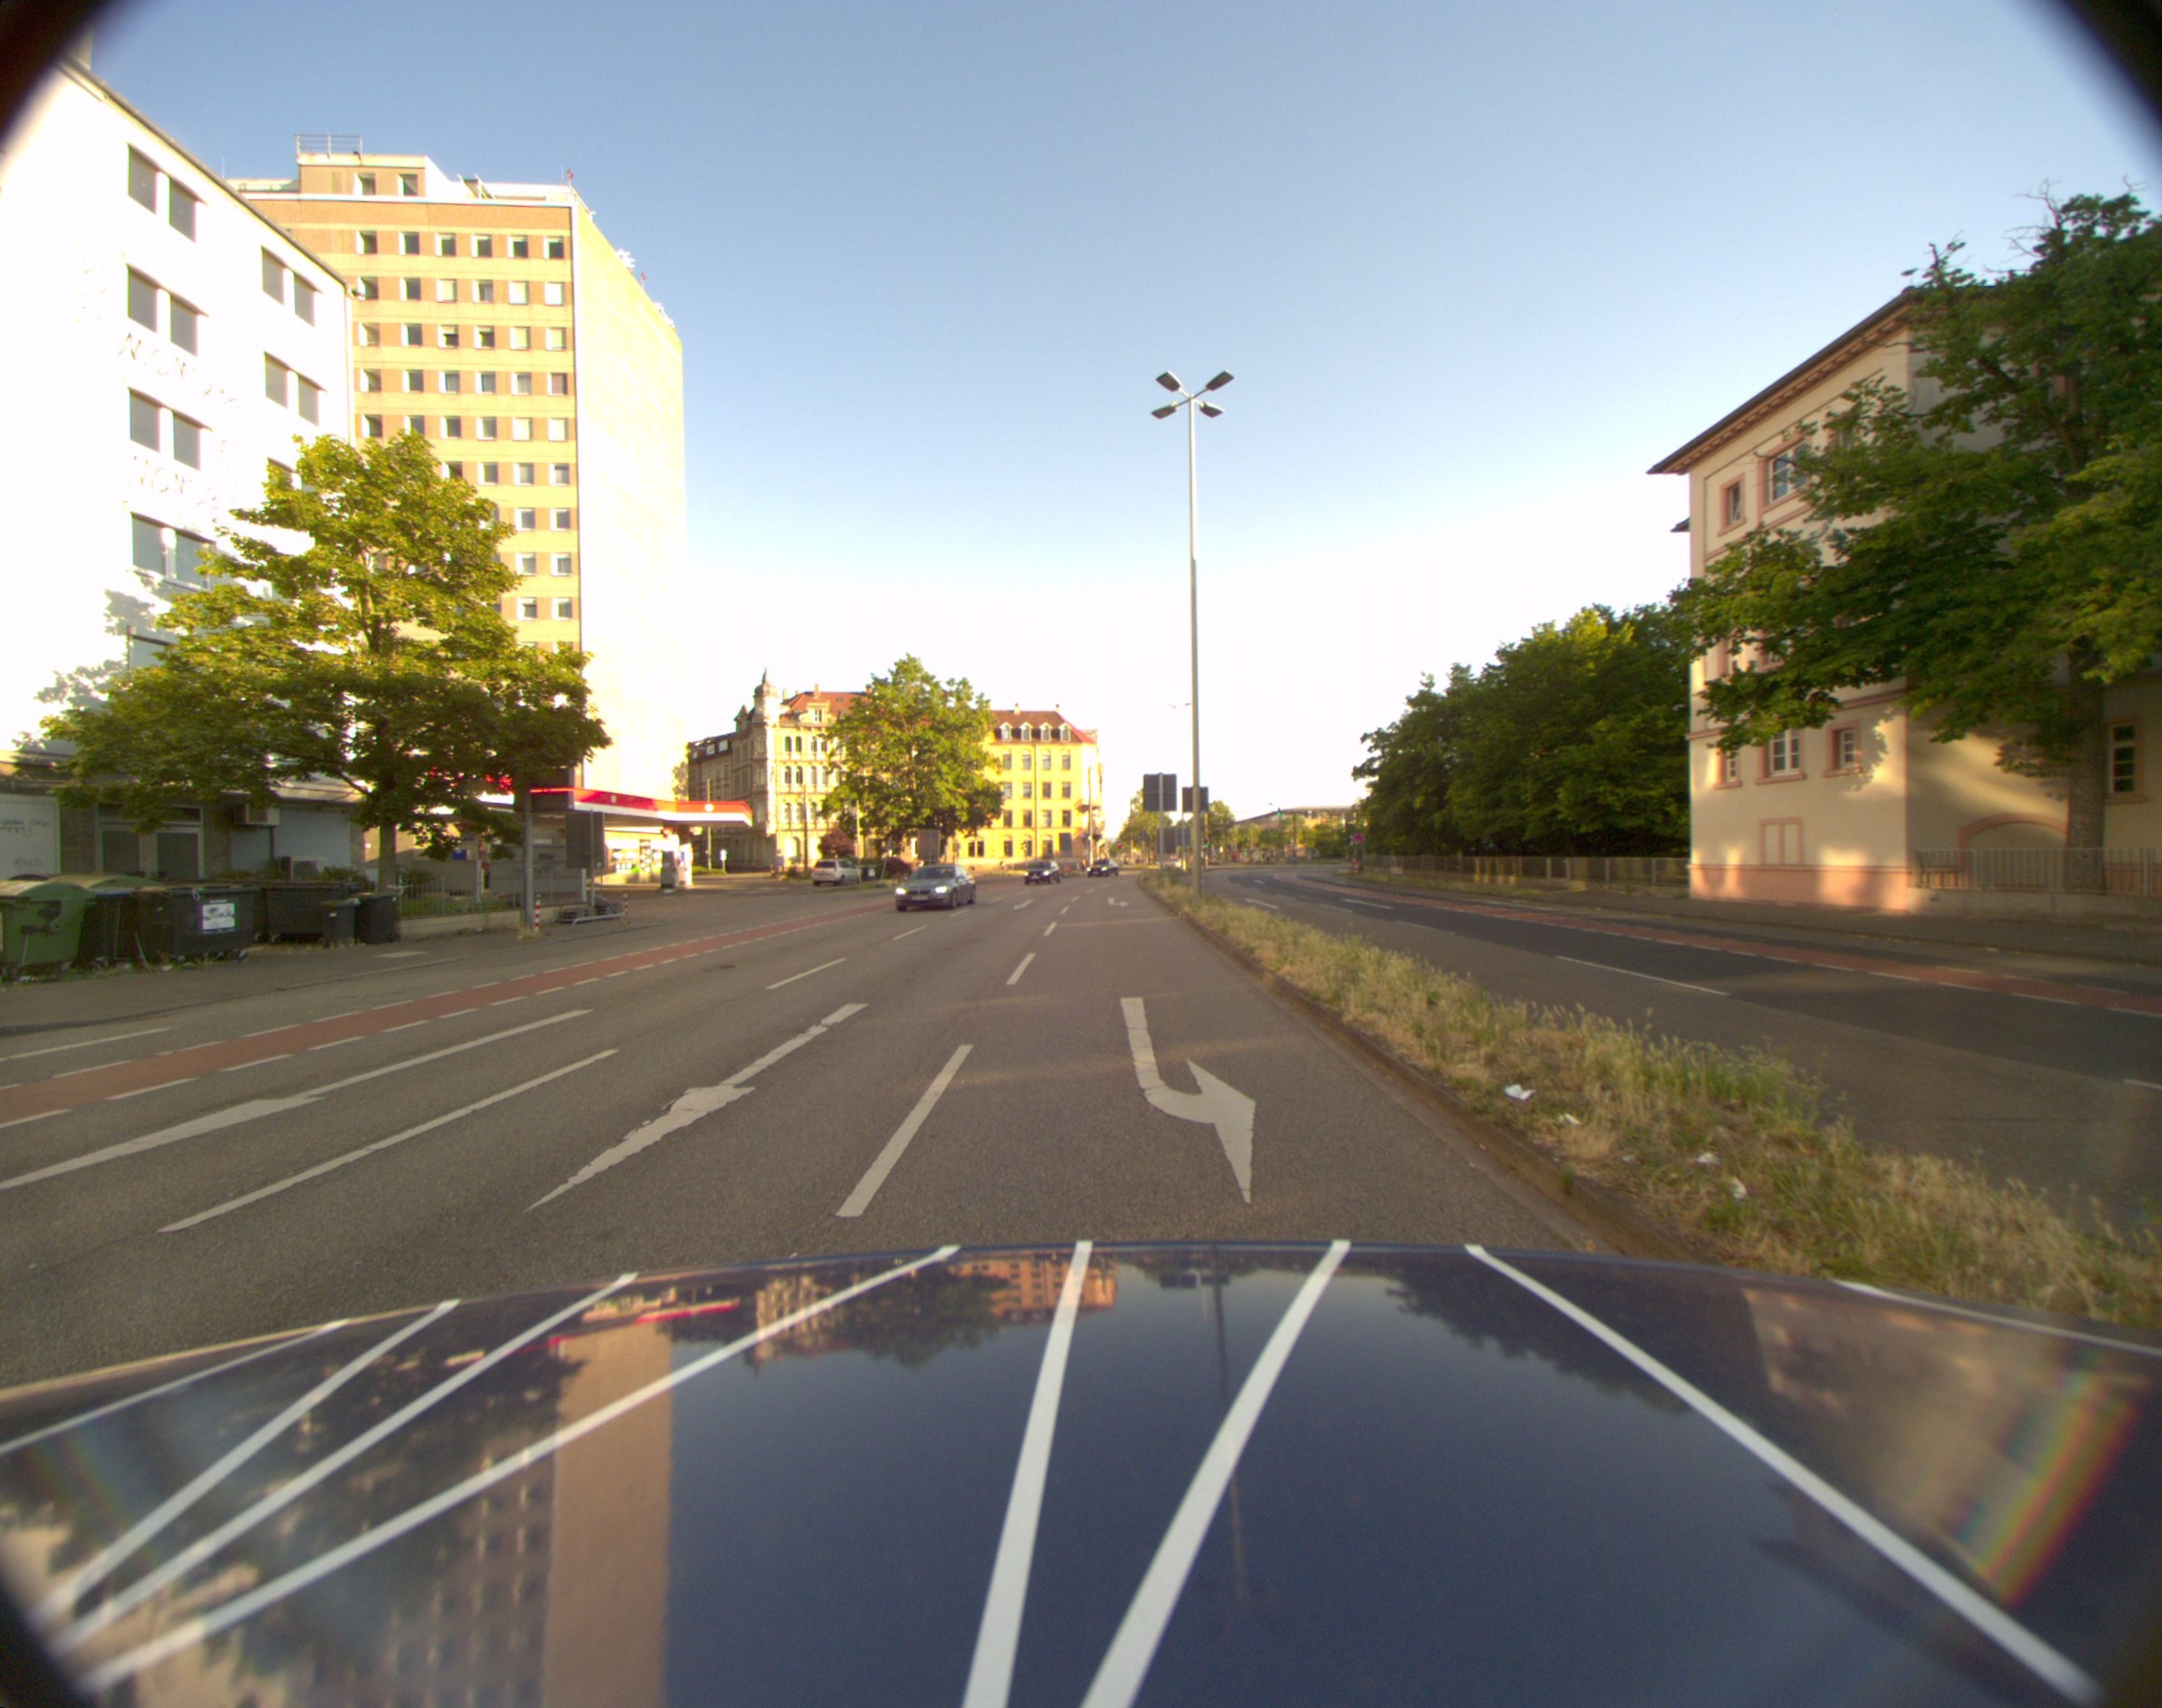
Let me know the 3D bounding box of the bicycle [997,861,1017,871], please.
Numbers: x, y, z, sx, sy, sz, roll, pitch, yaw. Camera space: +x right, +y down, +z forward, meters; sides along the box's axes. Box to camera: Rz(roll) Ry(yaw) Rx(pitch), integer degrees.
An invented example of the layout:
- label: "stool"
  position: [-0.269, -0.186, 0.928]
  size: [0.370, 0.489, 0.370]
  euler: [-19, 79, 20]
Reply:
- label: "bicycle"
  position: [-7.452, 1.203, 76.624]
  size: [1.927, 1.053, 0.451]
  euler: [-1, 1, -7]

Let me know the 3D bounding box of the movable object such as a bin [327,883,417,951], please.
- label: "movable object such as a bin"
  position: [-14.874, 1.300, 15.968]
  size: [0.956, 1.320, 0.953]
  euler: [-1, 1, -2]

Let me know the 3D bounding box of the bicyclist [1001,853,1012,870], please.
- label: "bicyclist"
  position: [-7.552, 0.749, 76.689]
  size: [1.065, 1.639, 0.732]
  euler: [-1, 1, -7]

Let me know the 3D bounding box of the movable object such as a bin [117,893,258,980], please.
- label: "movable object such as a bin"
  position: [-14.913, 1.352, 12.735]
  size: [0.956, 1.320, 1.162]
  euler: [-1, 1, -2]

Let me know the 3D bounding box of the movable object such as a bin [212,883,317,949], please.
- label: "movable object such as a bin"
  position: [-16.927, 1.268, 15.793]
  size: [0.956, 1.276, 1.098]
  euler: [-1, 1, -2]

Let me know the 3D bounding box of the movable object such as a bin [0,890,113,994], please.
- label: "movable object such as a bin"
  position: [-15.811, 1.286, 11.291]
  size: [1.351, 1.415, 1.105]
  euler: [-1, 1, -4]

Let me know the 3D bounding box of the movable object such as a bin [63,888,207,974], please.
- label: "movable object such as a bin"
  position: [-16.037, 1.275, 12.927]
  size: [0.956, 1.320, 1.162]
  euler: [-1, 1, -2]

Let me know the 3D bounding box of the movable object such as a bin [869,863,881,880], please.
- label: "movable object such as a bin"
  position: [-13.109, 1.102, 48.386]
  size: [0.544, 1.013, 0.688]
  euler: [-1, 1, 6]

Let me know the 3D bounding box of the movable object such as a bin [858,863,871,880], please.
- label: "movable object such as a bin"
  position: [-13.829, 1.117, 48.597]
  size: [0.544, 1.013, 0.688]
  euler: [-1, 1, 6]

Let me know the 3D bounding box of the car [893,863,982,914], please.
- label: "car"
  position: [-4.714, 1.083, 25.676]
  size: [1.819, 1.440, 4.667]
  euler: [-2, 0, 3]

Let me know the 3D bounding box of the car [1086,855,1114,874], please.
- label: "car"
  position: [1.582, 0.828, 61.832]
  size: [1.730, 1.440, 4.048]
  euler: [-2, 0, 8]

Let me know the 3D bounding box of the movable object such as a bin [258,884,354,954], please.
- label: "movable object such as a bin"
  position: [-15.843, 1.310, 15.559]
  size: [0.956, 1.320, 0.953]
  euler: [-1, 1, -2]

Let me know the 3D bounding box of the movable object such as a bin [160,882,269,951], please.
- label: "movable object such as a bin"
  position: [-17.924, 1.279, 15.751]
  size: [0.956, 1.320, 1.098]
  euler: [-1, 1, -2]

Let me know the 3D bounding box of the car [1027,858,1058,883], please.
- label: "car"
  position: [-2.384, 0.998, 47.502]
  size: [1.584, 1.440, 3.872]
  euler: [-2, 0, 2]

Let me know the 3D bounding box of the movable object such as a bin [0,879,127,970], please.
- label: "movable object such as a bin"
  position: [-18.296, 1.226, 13.553]
  size: [1.034, 1.490, 1.162]
  euler: [-1, 1, -2]

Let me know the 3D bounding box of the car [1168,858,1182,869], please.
- label: "car"
  position: [13.361, 1.373, 107.686]
  size: [1.673, 1.410, 4.443]
  euler: [-2, 0, 9]

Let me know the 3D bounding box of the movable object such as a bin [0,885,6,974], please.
- label: "movable object such as a bin"
  position: [-18.688, 1.281, 12.240]
  size: [1.034, 1.490, 1.162]
  euler: [-1, 1, -2]

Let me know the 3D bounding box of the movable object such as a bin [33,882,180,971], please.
- label: "movable object such as a bin"
  position: [-17.121, 1.239, 13.397]
  size: [1.034, 1.440, 1.162]
  euler: [-1, 1, -2]

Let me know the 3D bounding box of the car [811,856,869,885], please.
- label: "car"
  position: [-13.919, 0.935, 44.108]
  size: [1.688, 1.508, 3.798]
  euler: [-1, 1, 8]

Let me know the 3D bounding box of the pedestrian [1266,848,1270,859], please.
- label: "pedestrian"
  position: [34.285, -0.011, 139.562]
  size: [0.556, 2.002, 0.664]
  euler: [-1, 1, 1]
